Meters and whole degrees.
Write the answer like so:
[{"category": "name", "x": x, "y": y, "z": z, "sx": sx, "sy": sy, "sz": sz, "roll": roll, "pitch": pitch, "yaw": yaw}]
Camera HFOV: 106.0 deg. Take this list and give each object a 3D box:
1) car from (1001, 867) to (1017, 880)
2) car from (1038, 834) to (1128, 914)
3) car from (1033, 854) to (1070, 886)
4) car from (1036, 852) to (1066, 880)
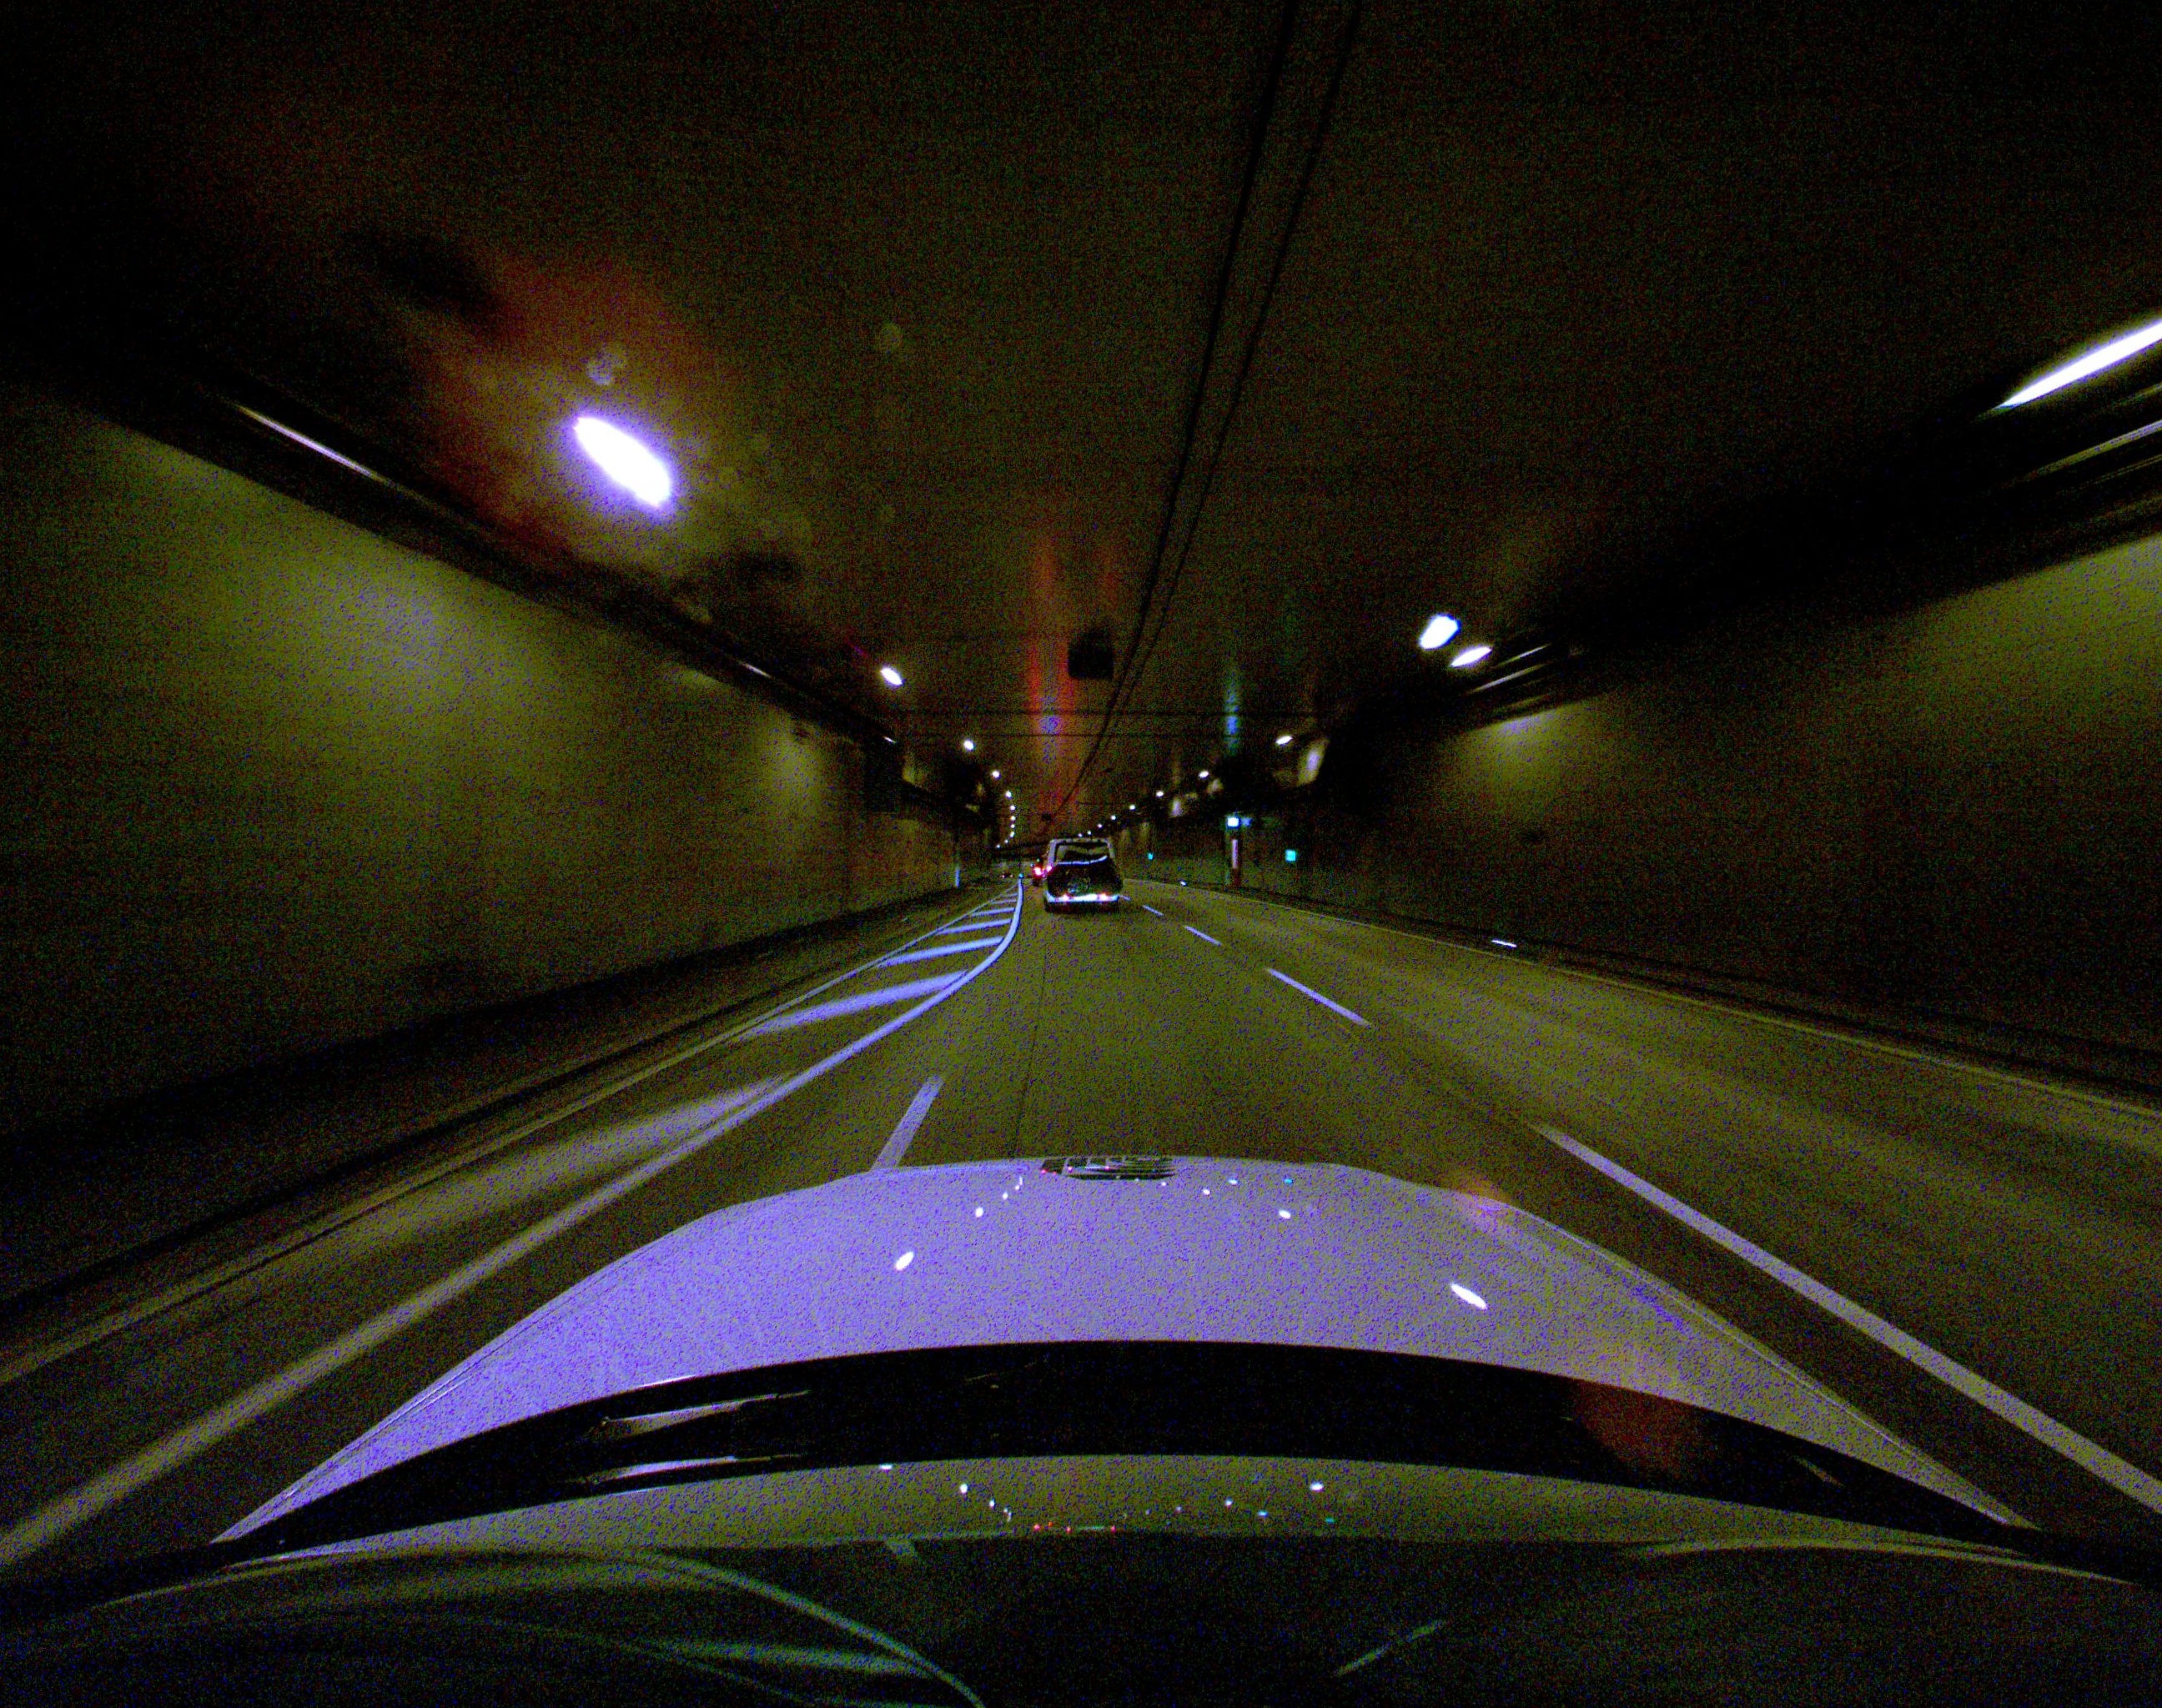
[{"category": "car", "x": -9.937, "y": 2.734, "z": 112.334, "sx": 1.822, "sy": 1.630, "sz": 3.830, "roll": 2, "pitch": -2, "yaw": -10}, {"category": "car", "x": -0.087, "y": 0.470, "z": 21.720, "sx": 1.990, "sy": 1.847, "sz": 5.293, "roll": -1, "pitch": 0, "yaw": -4}, {"category": "car", "x": -1.393, "y": 0.724, "z": 37.528, "sx": 1.600, "sy": 1.395, "sz": 3.272, "roll": 0, "pitch": 0, "yaw": -4}, {"category": "car", "x": -1.849, "y": 0.728, "z": 49.643, "sx": 1.600, "sy": 1.594, "sz": 3.349, "roll": -1, "pitch": -1, "yaw": -5}]
